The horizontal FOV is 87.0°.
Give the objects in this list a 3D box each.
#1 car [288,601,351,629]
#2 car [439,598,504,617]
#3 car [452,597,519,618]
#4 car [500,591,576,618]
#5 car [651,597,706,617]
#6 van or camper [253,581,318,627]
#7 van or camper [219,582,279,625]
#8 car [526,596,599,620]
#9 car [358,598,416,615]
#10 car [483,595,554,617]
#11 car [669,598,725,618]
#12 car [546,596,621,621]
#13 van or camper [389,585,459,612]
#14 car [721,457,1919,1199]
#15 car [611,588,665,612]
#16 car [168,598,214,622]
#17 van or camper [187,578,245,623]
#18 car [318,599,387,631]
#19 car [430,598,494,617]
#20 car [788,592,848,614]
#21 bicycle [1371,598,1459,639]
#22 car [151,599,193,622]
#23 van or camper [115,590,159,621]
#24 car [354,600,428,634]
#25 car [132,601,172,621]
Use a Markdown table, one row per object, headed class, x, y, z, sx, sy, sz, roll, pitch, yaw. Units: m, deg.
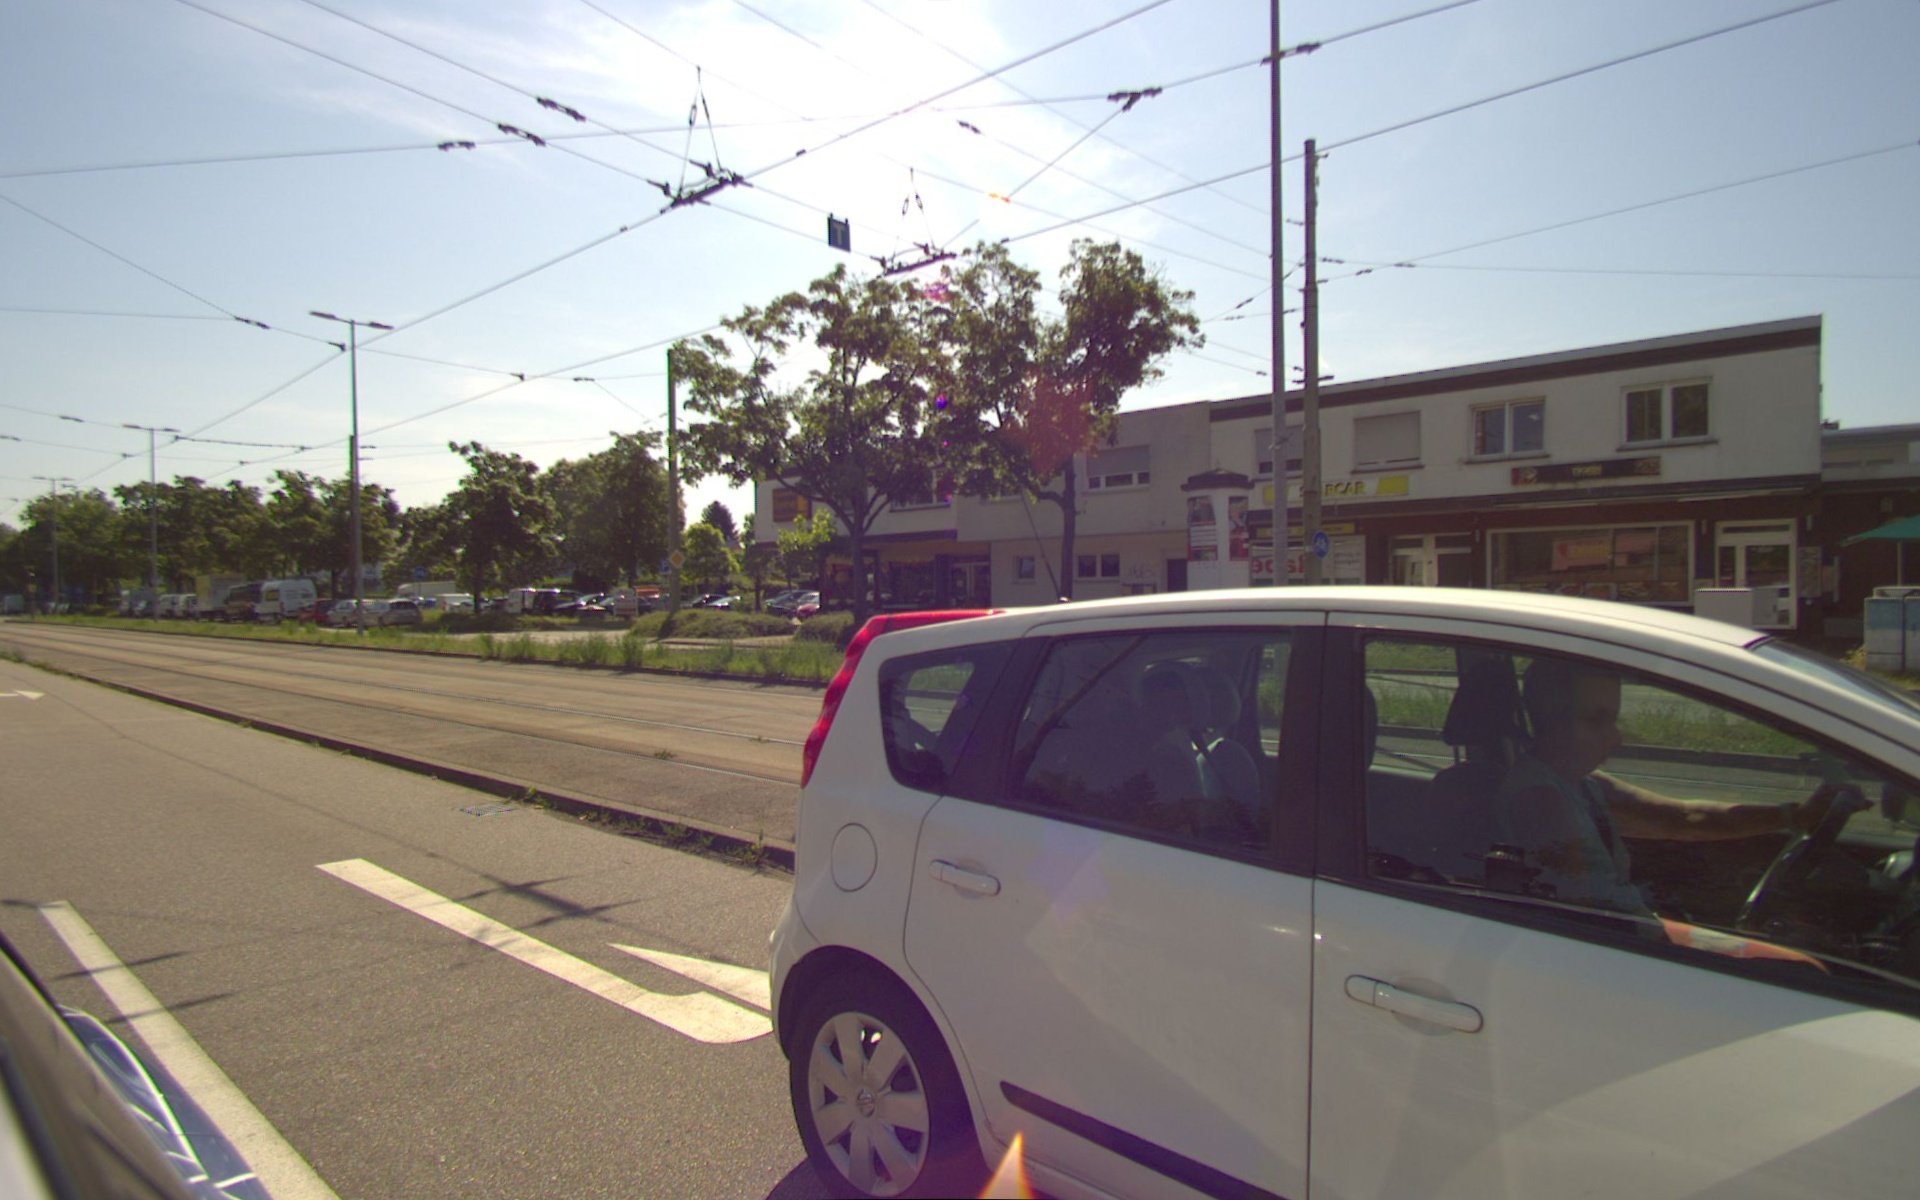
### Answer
| class | x | y | z | sx | sy | sz | roll | pitch | yaw |
| --- | --- | --- | --- | --- | --- | --- | --- | --- | --- |
| car | -36.129 | 0.852 | 57.065 | 4.229 | 1.506 | 1.868 | 0 | 0 | 41 |
| car | -33.151 | 0.494 | 68.717 | 1.710 | 1.291 | 3.579 | -1 | 0 | 39 |
| car | -31.071 | 0.488 | 66.311 | 1.811 | 1.291 | 3.579 | -1 | 0 | 39 |
| car | -25.284 | 0.263 | 60.725 | 1.949 | 1.581 | 3.703 | -1 | 0 | 39 |
| car | -20.551 | 0.492 | 73.951 | 1.710 | 1.372 | 3.579 | -1 | 0 | 39 |
| van or camper | -40.187 | 0.237 | 60.257 | 4.836 | 2.652 | 2.014 | 0 | 0 | 41 |
| van or camper | -45.572 | 0.233 | 64.810 | 4.836 | 2.652 | 2.014 | 0 | 0 | 41 |
| car | -23.257 | 0.450 | 59.300 | 1.710 | 1.372 | 3.579 | -1 | 0 | 39 |
| car | -45.170 | 0.492 | 79.806 | 1.710 | 1.291 | 3.579 | -1 | 0 | 39 |
| car | -27.096 | 0.347 | 62.180 | 1.710 | 1.294 | 3.579 | -1 | 0 | 39 |
| car | -18.711 | 0.569 | 72.114 | 1.710 | 1.372 | 3.579 | -1 | 0 | 39 |
| car | -21.306 | 0.448 | 57.360 | 1.710 | 1.372 | 3.579 | -1 | 0 | 39 |
| van or camper | -56.070 | -0.171 | 105.948 | 2.299 | 2.751 | 6.001 | -1 | 0 | 43 |
| car | 1.466 | 0.633 | 1.999 | 4.065 | 1.573 | 1.748 | 0 | -1 | 41 |
| car | -24.532 | -0.038 | 77.178 | 1.710 | 1.791 | 3.579 | -1 | 0 | 39 |
| car | -57.742 | 0.763 | 75.951 | 4.229 | 1.747 | 1.868 | 0 | 0 | 41 |
| van or camper | -51.507 | 0.054 | 70.012 | 5.278 | 3.007 | 2.101 | 0 | 0 | 41 |
| car | -32.068 | 0.778 | 53.361 | 4.282 | 1.572 | 1.868 | 0 | 0 | 41 |
| car | -34.575 | 0.494 | 70.303 | 1.710 | 1.291 | 3.579 | -1 | 0 | 39 |
| car | -8.982 | 0.180 | 64.115 | 1.710 | 1.372 | 3.579 | -1 | 0 | 39 |
| bicycle | 11.558 | 0.466 | 25.763 | 1.910 | 0.990 | 0.750 | 0 | 0 | 41 |
| car | -62.830 | 0.792 | 80.672 | 4.229 | 1.781 | 1.868 | 0 | 0 | 41 |
| van or camper | -72.384 | 0.456 | 89.005 | 5.450 | 2.639 | 2.086 | 0 | -1 | 41 |
| car | -28.111 | 0.801 | 49.986 | 4.284 | 1.506 | 1.868 | 0 | 3 | 42 |
| car | -67.387 | 0.907 | 84.386 | 4.229 | 1.572 | 1.868 | 0 | 0 | 41 |
